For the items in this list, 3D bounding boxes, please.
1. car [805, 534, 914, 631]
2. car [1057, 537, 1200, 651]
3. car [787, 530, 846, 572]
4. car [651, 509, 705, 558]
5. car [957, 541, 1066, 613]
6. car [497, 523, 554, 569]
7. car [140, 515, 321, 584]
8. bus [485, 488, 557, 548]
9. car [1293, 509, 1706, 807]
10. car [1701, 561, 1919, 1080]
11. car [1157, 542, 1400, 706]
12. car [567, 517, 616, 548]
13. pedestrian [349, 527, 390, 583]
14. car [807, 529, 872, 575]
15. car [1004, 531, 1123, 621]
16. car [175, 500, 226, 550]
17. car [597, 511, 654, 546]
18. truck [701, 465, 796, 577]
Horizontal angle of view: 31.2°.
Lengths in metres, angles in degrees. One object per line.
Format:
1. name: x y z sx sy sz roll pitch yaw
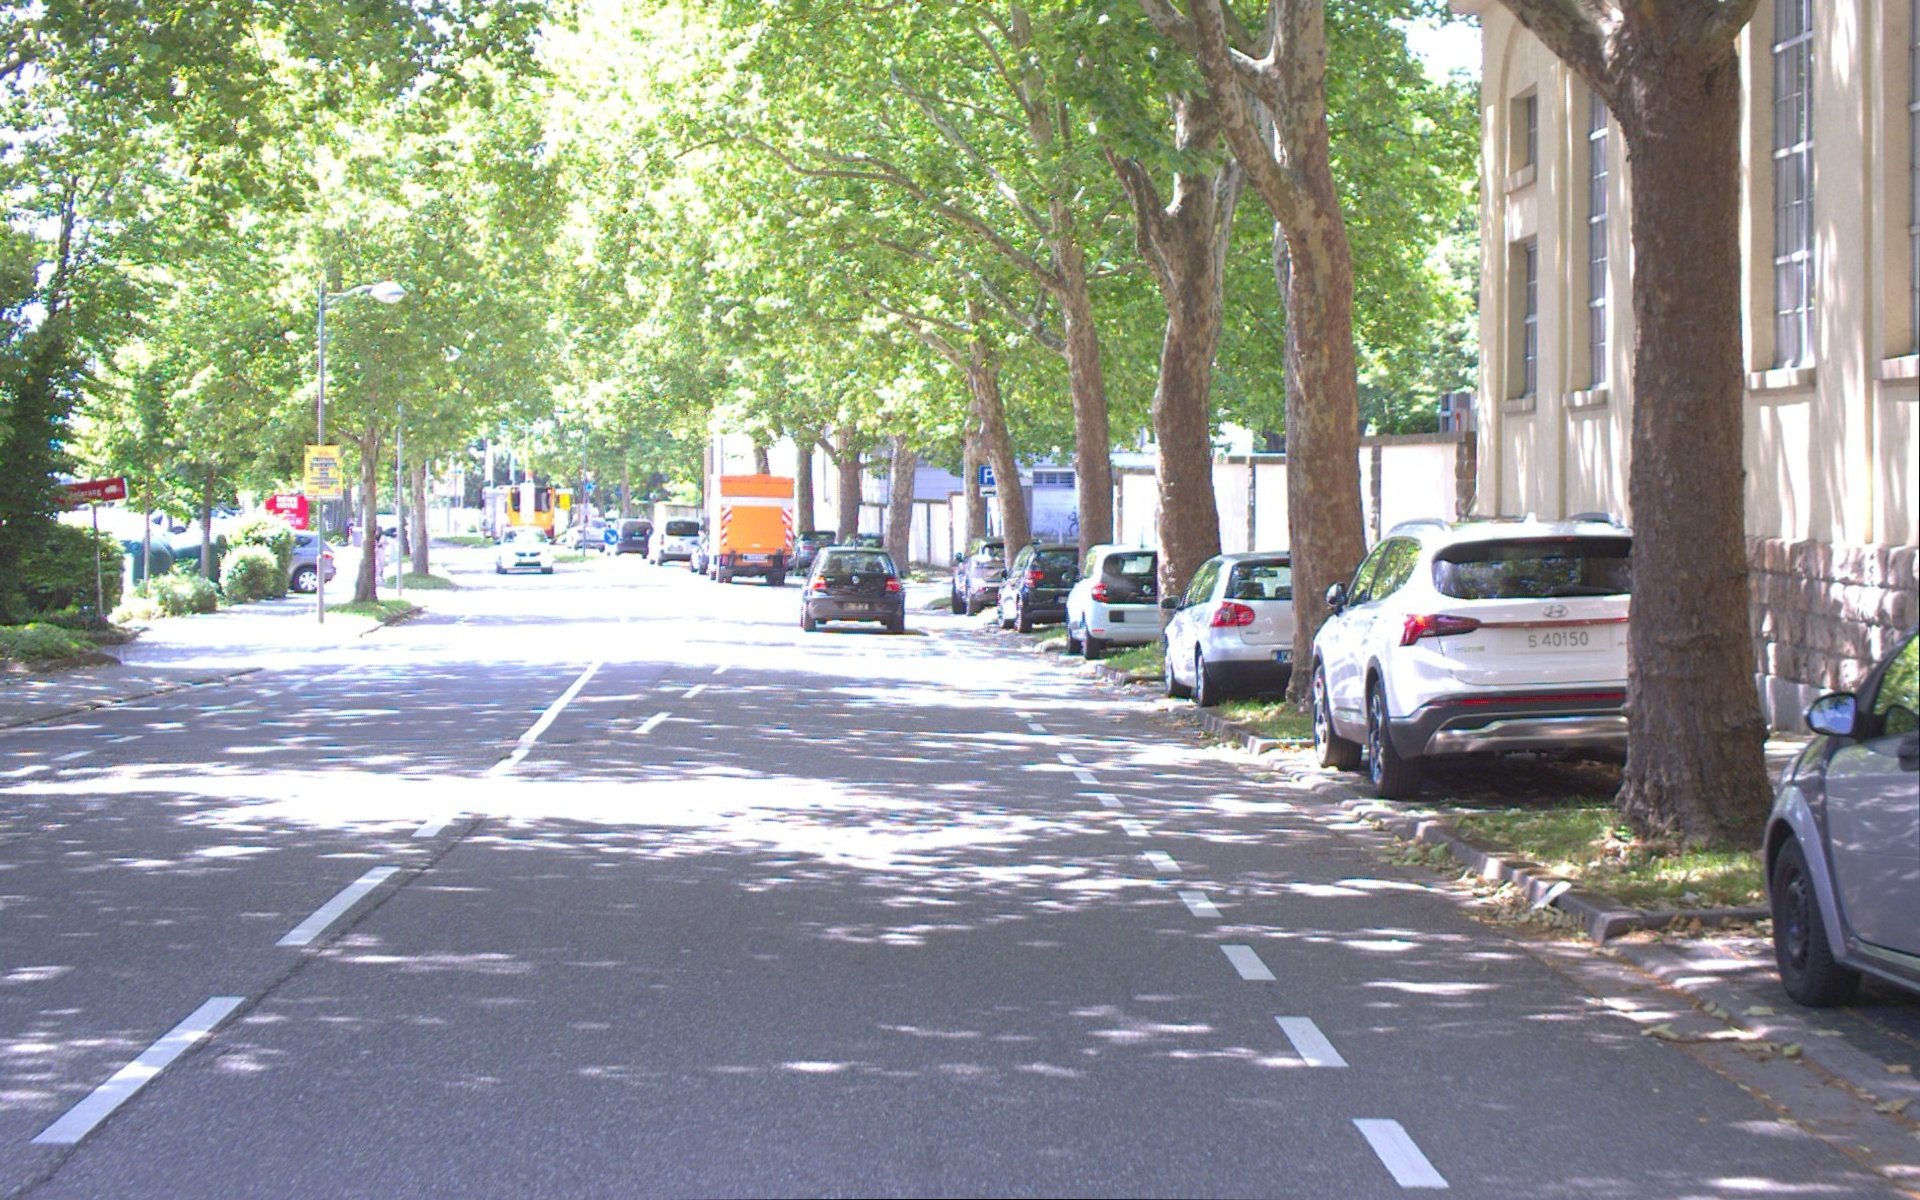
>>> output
1. car: -1.745 -0.322 58.475 1.711 1.442 4.059 -1 3 -3
2. car: 2.280 -0.114 47.338 1.577 1.461 3.876 -1 1 -3
3. car: -4.943 -1.695 117.821 1.766 1.369 3.731 -2 1 -6
4. car: -10.319 -2.413 125.449 1.879 1.680 4.001 0 0 -6
5. car: 1.017 -0.479 69.717 1.766 1.369 3.731 -2 1 -6
6. car: -14.233 -1.774 112.530 1.710 1.442 4.059 -1 1 -9
7. car: -18.090 -1.239 85.271 3.986 1.660 2.000 0 0 -28
8. bus: -23.915 -4.425 186.864 2.663 3.140 11.201 -1 1 -13
9. car: 3.356 0.291 22.287 1.808 1.683 4.752 -1 1 -1
10. car: 3.515 0.620 10.084 1.621 1.435 4.433 -1 1 -1
11. car: 2.981 0.183 32.895 1.766 1.428 3.876 -1 1 -2
12. car: -16.785 -3.053 156.466 1.766 1.369 3.731 -2 1 -13
13. pedestrian: -15.925 -1.214 92.707 1.093 1.515 0.970 0 1 -10
14. car: -3.725 -1.479 105.993 1.766 1.369 3.730 0 1 -6
15. car: 1.769 -0.442 59.885 1.766 1.461 3.876 -1 1 -2
16. car: -31.768 -3.120 143.764 1.993 2.007 4.001 0 0 -14
17. car: -13.679 -2.931 140.608 1.766 1.369 3.731 -2 1 -14
18. truck: -6.204 -2.262 100.303 2.370 3.123 5.770 0 0 -8
